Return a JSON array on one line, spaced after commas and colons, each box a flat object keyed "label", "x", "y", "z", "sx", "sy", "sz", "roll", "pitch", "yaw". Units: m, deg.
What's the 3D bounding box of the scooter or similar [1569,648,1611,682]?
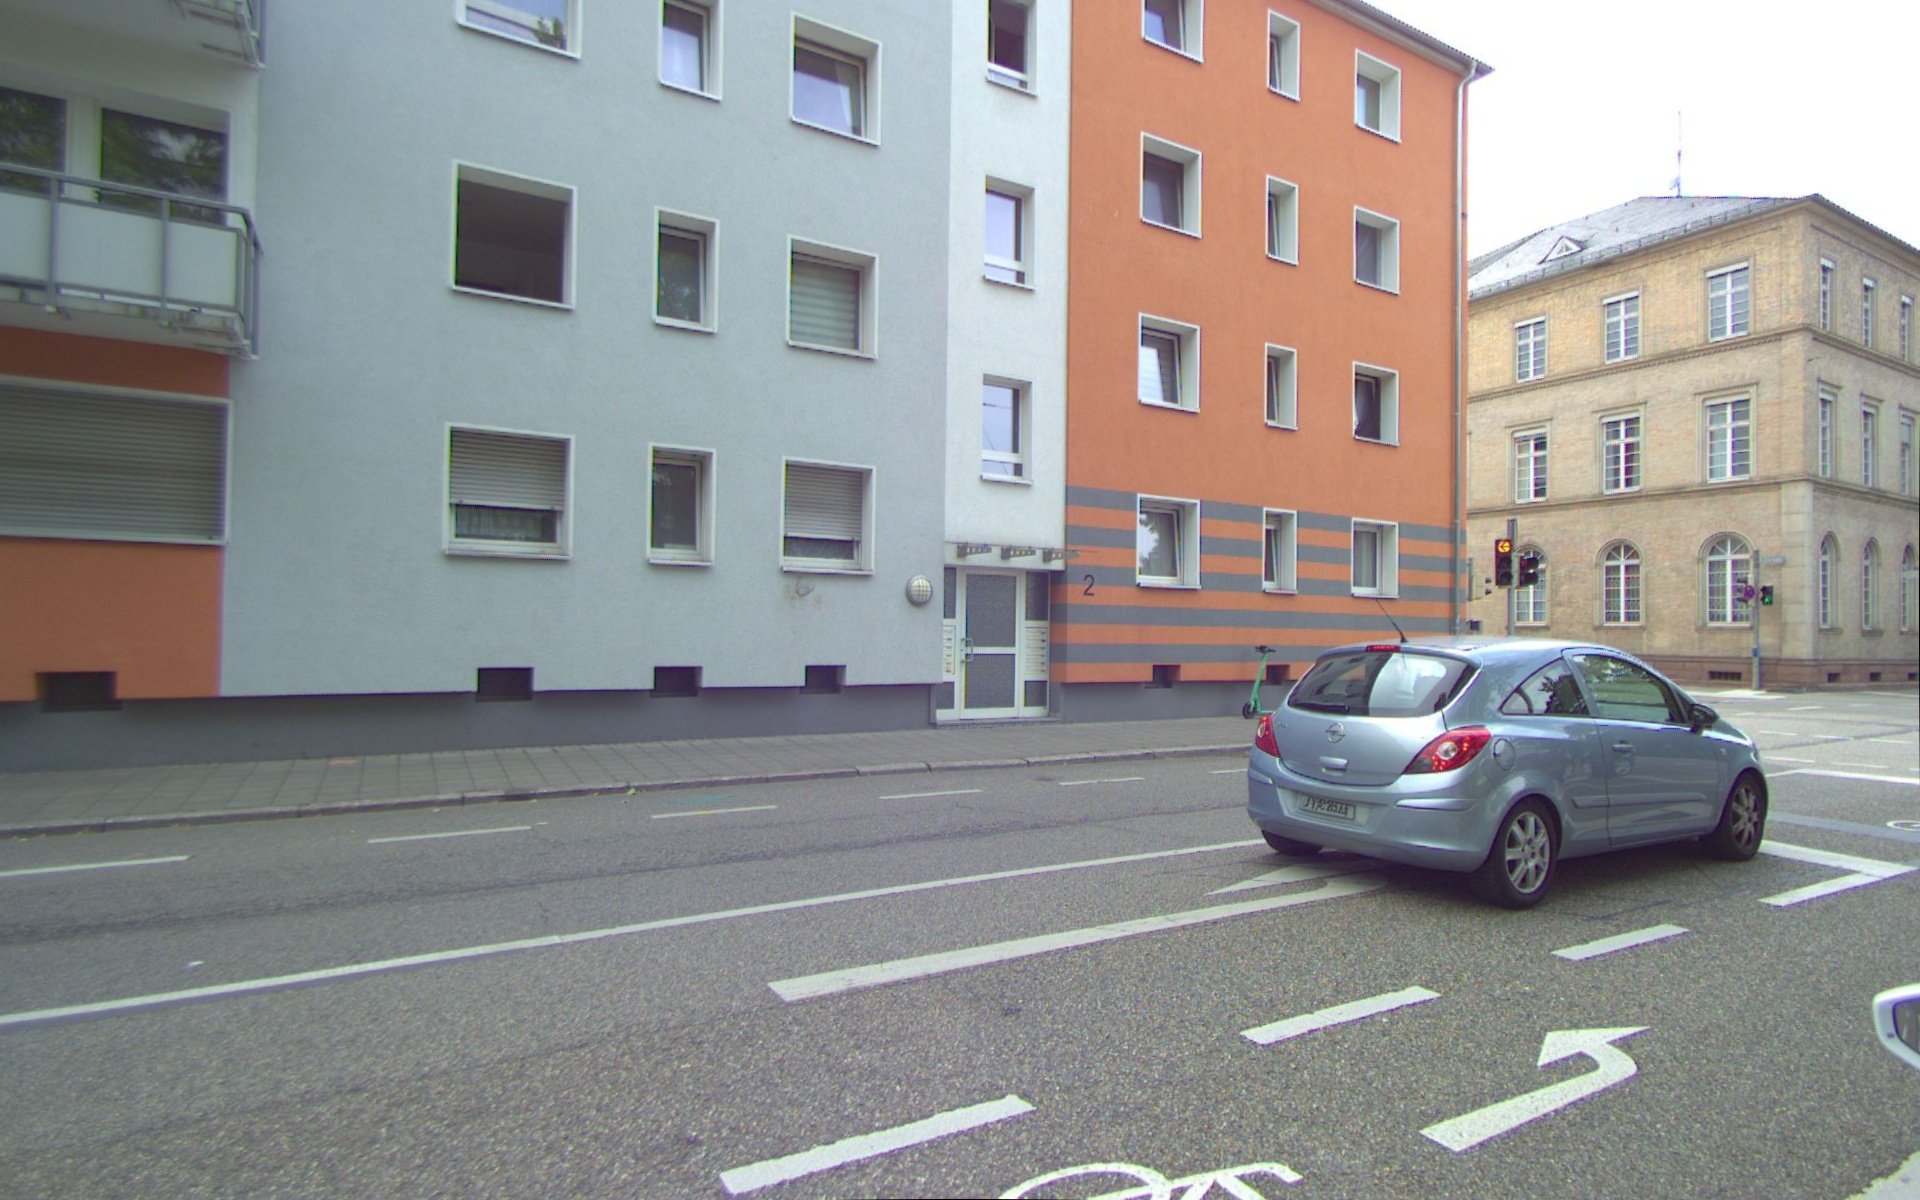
[{"label": "scooter or similar", "x": 20.505, "y": 2.098, "z": 32.701, "sx": 0.375, "sy": 1.063, "sz": 1.133, "roll": 3, "pitch": -2, "yaw": -29}]

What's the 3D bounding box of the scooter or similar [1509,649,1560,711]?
[{"label": "scooter or similar", "x": 11.100, "y": 1.536, "z": 19.406, "sx": 1.130, "sy": 1.159, "sz": 0.376, "roll": 3, "pitch": -3, "yaw": -33}]

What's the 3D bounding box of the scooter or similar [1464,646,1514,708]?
[{"label": "scooter or similar", "x": 10.354, "y": 1.505, "z": 19.652, "sx": 1.130, "sy": 1.162, "sz": 0.376, "roll": 3, "pitch": -3, "yaw": -33}]

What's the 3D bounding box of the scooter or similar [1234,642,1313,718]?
[{"label": "scooter or similar", "x": 5.130, "y": 1.304, "z": 16.410, "sx": 1.373, "sy": 1.199, "sz": 0.376, "roll": 3, "pitch": -2, "yaw": -30}]

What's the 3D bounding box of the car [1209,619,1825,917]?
[{"label": "car", "x": 3.810, "y": 0.902, "z": 6.698, "sx": 4.204, "sy": 1.439, "sz": 1.704, "roll": 2, "pitch": -3, "yaw": -31}]
